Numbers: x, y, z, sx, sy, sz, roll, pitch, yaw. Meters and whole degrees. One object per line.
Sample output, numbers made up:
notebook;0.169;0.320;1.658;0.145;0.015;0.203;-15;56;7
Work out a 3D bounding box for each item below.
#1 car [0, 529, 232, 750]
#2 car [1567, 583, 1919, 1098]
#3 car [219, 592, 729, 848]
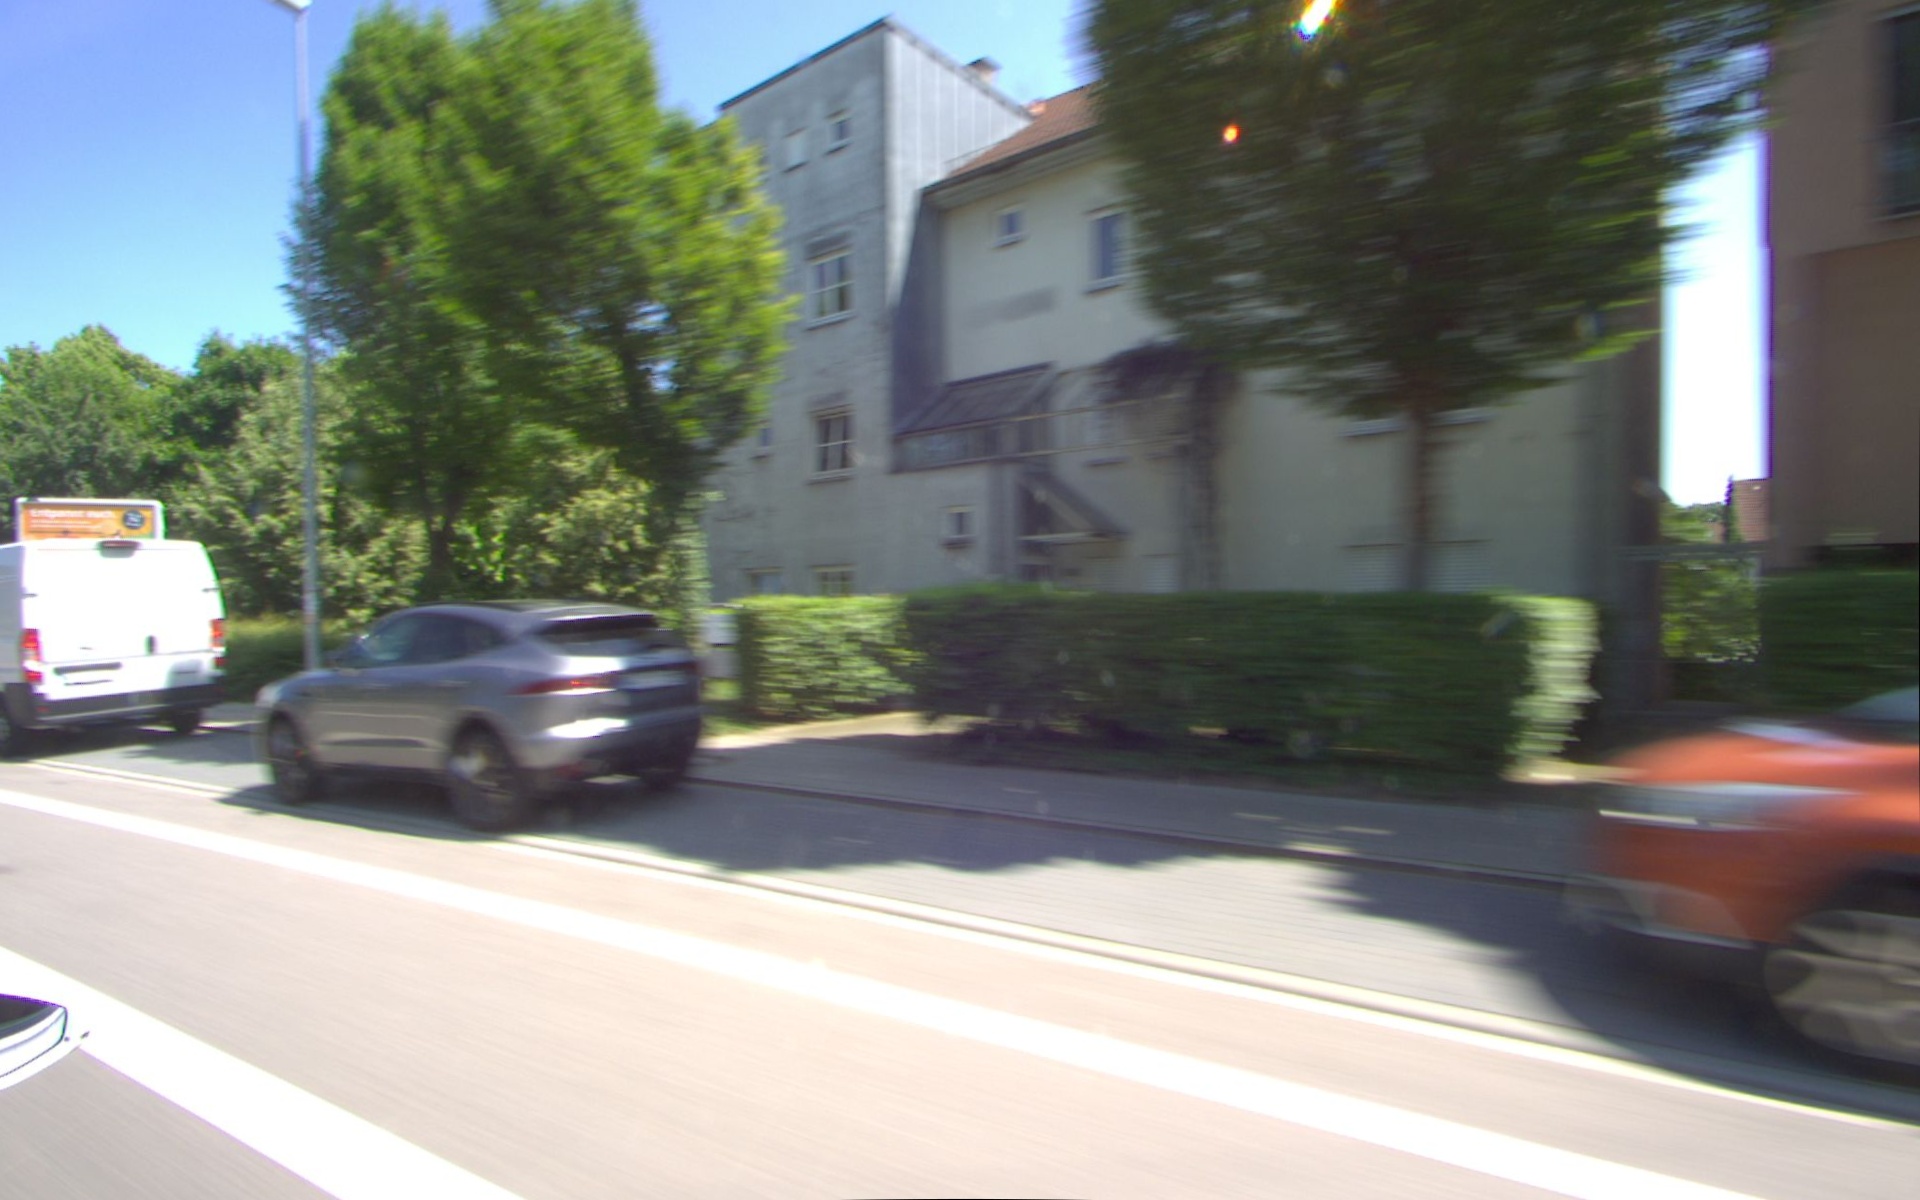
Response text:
car;-12.624;0.433;13.620;6.016;2.491;1.998;0;2;29
car;4.459;0.741;3.219;4.260;1.584;1.703;0;2;31
car;-4.166;0.804;8.439;4.259;1.653;1.752;0;2;30
